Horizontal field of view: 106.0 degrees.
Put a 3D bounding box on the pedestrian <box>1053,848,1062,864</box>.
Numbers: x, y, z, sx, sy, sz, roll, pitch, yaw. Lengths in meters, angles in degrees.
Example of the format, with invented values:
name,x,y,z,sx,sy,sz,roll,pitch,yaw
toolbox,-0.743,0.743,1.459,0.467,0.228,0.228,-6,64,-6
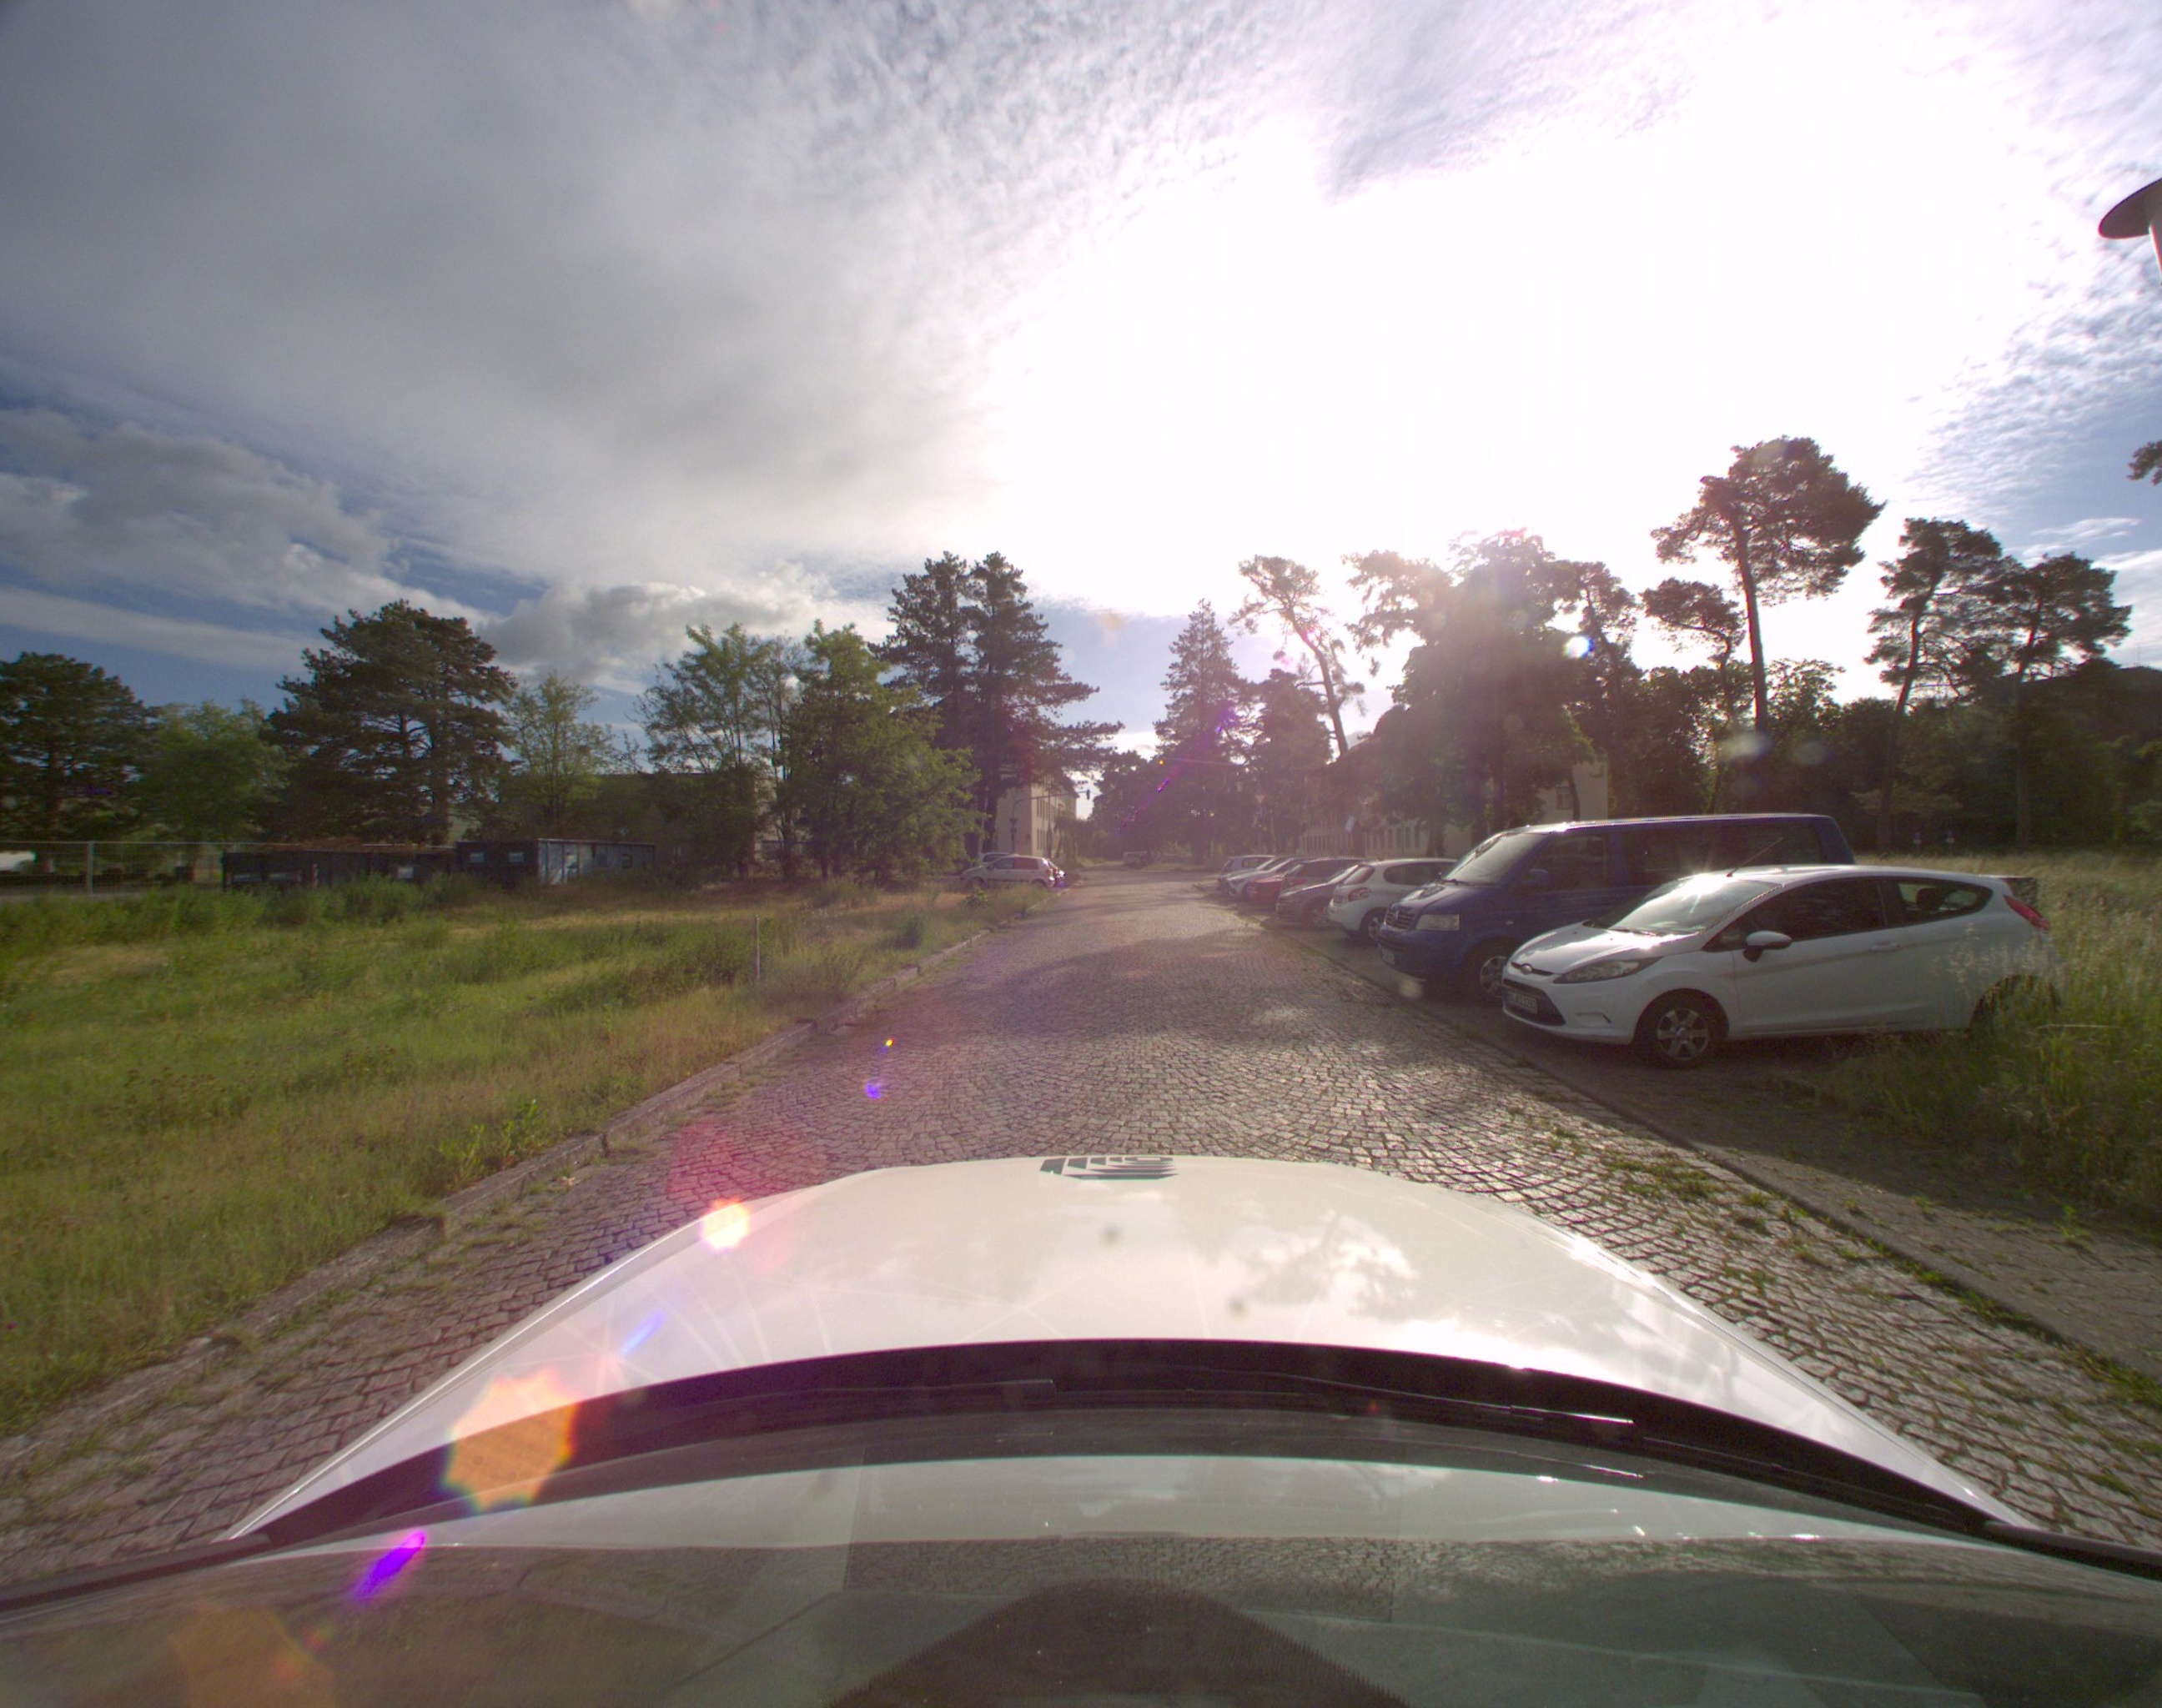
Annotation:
name,x,y,z,sx,sy,sz,roll,pitch,yaw
pedestrian,-2.800,0.226,97.264,0.981,1.963,0.933,0,-1,2

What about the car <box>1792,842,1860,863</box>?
name,x,y,z,sx,sy,sz,roll,pitch,yaw
car,61.927,-0.109,67.733,3.918,1.679,1.857,0,-1,1

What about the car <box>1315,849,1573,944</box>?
name,x,y,z,sx,sy,sz,roll,pitch,yaw
car,6.423,0.739,14.769,3.858,1.530,1.809,-1,-1,3

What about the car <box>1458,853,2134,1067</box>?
name,x,y,z,sx,sy,sz,roll,pitch,yaw
car,5.714,0.787,6.922,4.178,1.470,1.807,-1,-1,-1

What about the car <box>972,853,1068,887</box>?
name,x,y,z,sx,sy,sz,roll,pitch,yaw
car,-3.017,0.768,40.731,4.571,1.455,1.904,2,1,0

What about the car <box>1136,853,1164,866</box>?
name,x,y,z,sx,sy,sz,roll,pitch,yaw
car,8.200,0.629,96.769,3.032,1.465,1.714,0,-1,-10

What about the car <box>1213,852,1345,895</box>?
name,x,y,z,sx,sy,sz,roll,pitch,yaw
car,7.363,0.720,30.602,4.493,1.473,1.894,-1,-1,-1

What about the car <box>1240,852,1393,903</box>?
name,x,y,z,sx,sy,sz,roll,pitch,yaw
car,7.297,0.720,25.547,4.323,1.473,1.741,-1,-1,2

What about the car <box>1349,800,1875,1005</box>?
name,x,y,z,sx,sy,sz,roll,pitch,yaw
car,5.802,0.519,9.437,4.714,1.928,1.993,-2,-1,2

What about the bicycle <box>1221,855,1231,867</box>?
name,x,y,z,sx,sy,sz,roll,pitch,yaw
bicycle,12.453,0.568,69.979,0.560,0.999,1.751,-1,1,-1

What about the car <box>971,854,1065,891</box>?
name,x,y,z,sx,sy,sz,roll,pitch,yaw
car,-2.683,0.784,35.469,3.814,1.429,1.860,2,-1,2

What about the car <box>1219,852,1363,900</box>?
name,x,y,z,sx,sy,sz,roll,pitch,yaw
car,7.093,0.735,27.831,4.488,1.473,1.851,-1,-1,2

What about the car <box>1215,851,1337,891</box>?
name,x,y,z,sx,sy,sz,roll,pitch,yaw
car,7.864,0.692,33.210,4.527,1.505,1.933,-1,-1,1

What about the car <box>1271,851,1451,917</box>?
name,x,y,z,sx,sy,sz,roll,pitch,yaw
car,6.954,0.733,20.536,3.934,1.495,1.773,-1,-1,3

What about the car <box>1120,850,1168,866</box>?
name,x,y,z,sx,sy,sz,roll,pitch,yaw
car,7.739,0.542,100.364,5.503,1.916,2.246,0,-1,-11

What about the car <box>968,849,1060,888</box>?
name,x,y,z,sx,sy,sz,roll,pitch,yaw
car,-3.073,0.673,38.187,4.110,1.600,1.857,2,-1,-2

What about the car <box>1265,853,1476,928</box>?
name,x,y,z,sx,sy,sz,roll,pitch,yaw
car,6.147,0.760,17.645,3.934,1.467,1.832,-1,-1,3

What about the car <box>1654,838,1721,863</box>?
name,x,y,z,sx,sy,sz,roll,pitch,yaw
car,62.374,-0.363,83.853,5.135,2.536,2.267,0,-1,4

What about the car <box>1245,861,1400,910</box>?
name,x,y,z,sx,sy,sz,roll,pitch,yaw
car,6.771,0.868,23.187,3.934,1.261,1.728,-1,-1,3

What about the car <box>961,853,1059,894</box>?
name,x,y,z,sx,sy,sz,roll,pitch,yaw
car,-2.800,0.766,32.814,3.669,1.473,1.850,2,-1,1

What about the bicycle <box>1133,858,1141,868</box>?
name,x,y,z,sx,sy,sz,roll,pitch,yaw
bicycle,5.562,0.902,80.899,0.725,0.999,1.800,-1,1,3
